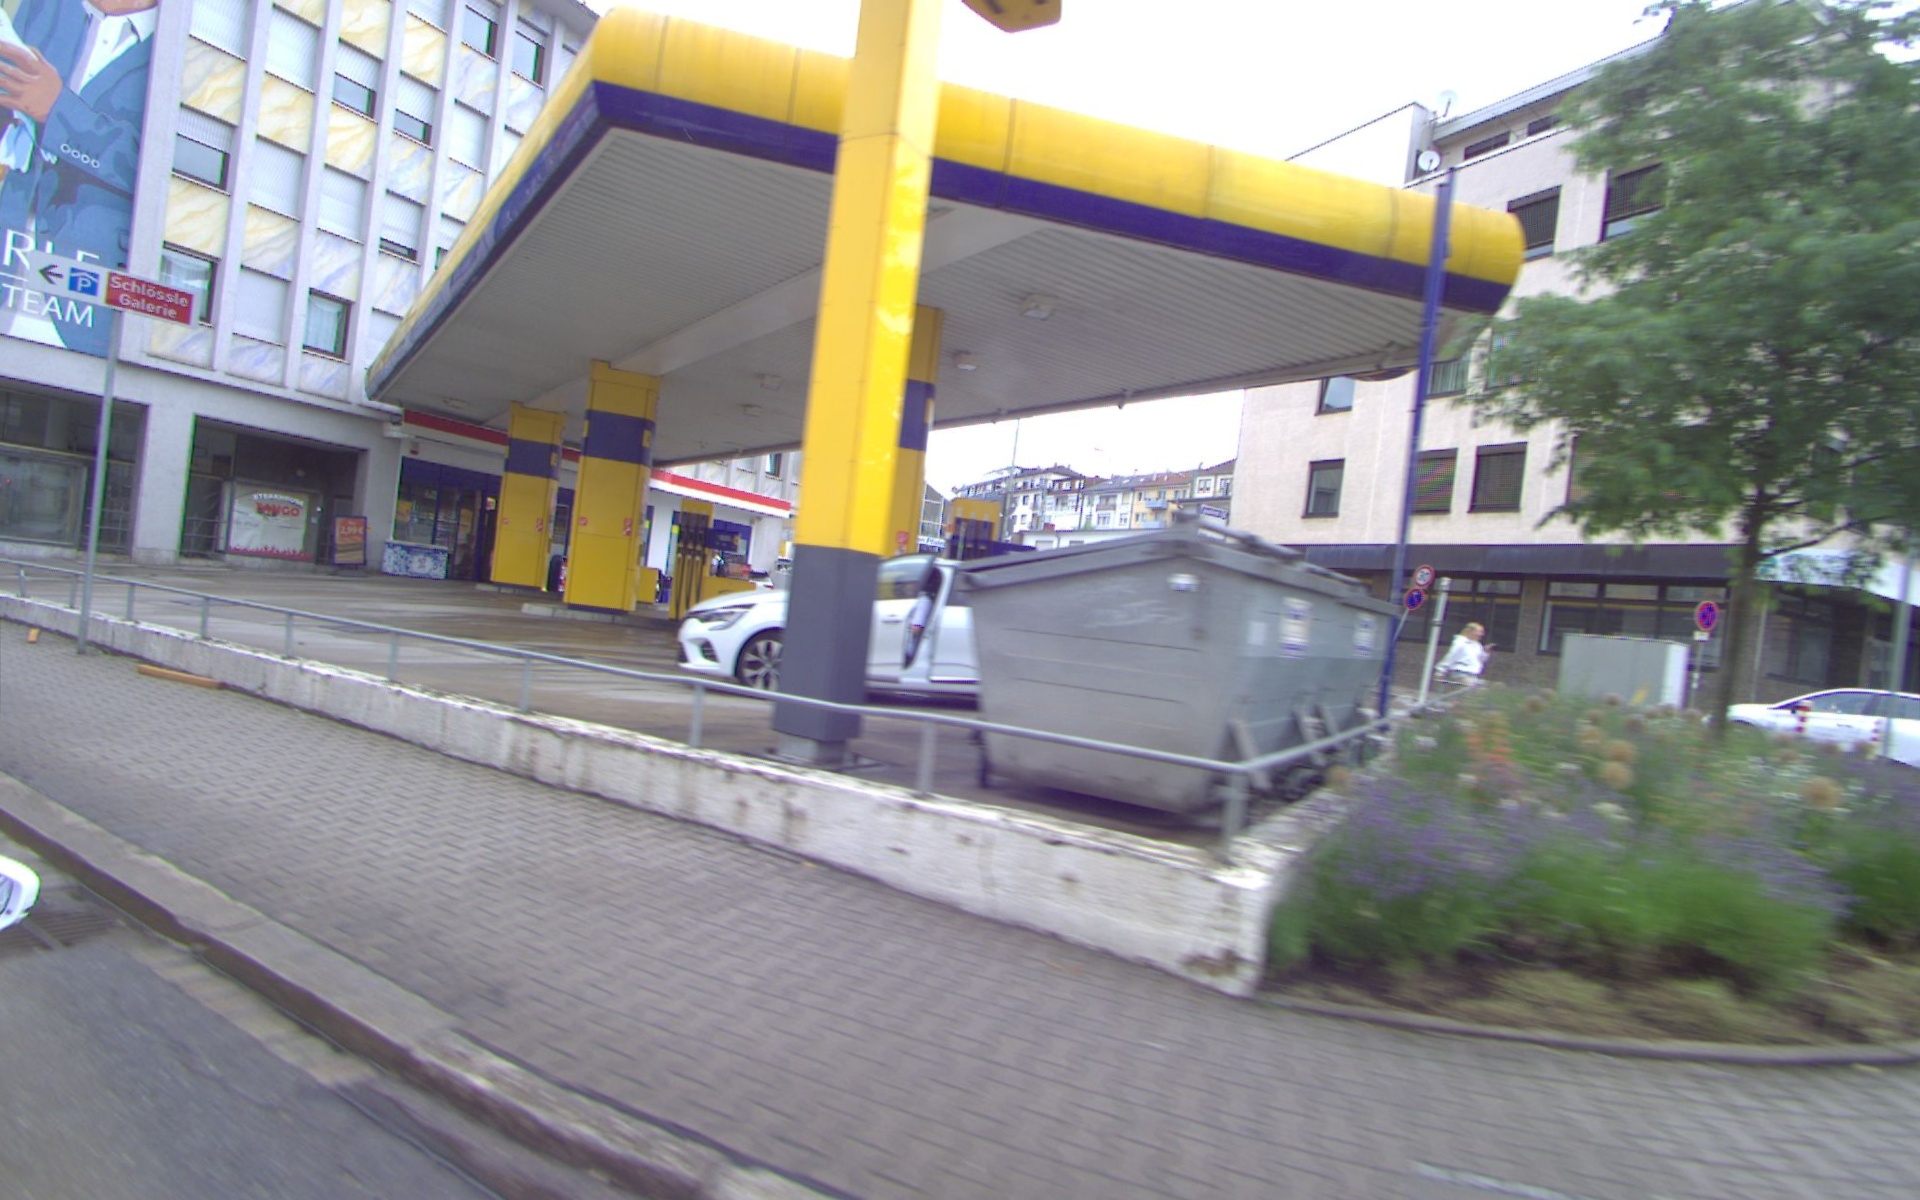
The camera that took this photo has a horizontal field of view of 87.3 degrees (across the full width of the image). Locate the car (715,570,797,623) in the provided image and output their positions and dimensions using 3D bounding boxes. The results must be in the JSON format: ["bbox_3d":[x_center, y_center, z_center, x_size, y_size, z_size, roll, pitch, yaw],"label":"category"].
[{"bbox_3d":[-7.106,-0.140,34.671,1.971,1.534,4.399,5,-1,-21],"label":"car"}]

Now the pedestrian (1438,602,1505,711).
[{"bbox_3d":[7.530,0.825,14.822,0.471,1.532,0.574,7,-1,-9],"label":"pedestrian"}]

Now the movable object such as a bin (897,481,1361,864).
[{"bbox_3d":[1.051,0.326,5.671,1.744,1.594,2.157,7,0,32],"label":"movable object such as a bin"}]

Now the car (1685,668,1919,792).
[{"bbox_3d":[14.518,2.169,16.164,1.789,1.494,4.173,10,-2,-32],"label":"car"}]

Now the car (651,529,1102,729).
[{"bbox_3d":[-0.843,0.284,9.771,3.936,1.461,1.740,5,1,-15],"label":"car"}]

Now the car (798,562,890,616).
[{"bbox_3d":[-4.872,-0.498,41.639,1.979,1.886,4.547,8,-2,-29],"label":"car"}]

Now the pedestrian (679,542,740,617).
[{"bbox_3d":[-6.566,-0.539,26.416,1.268,1.821,0.653,6,1,21],"label":"pedestrian"}]

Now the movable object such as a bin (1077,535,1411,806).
[{"bbox_3d":[2.203,0.457,7.562,1.744,1.575,2.156,7,1,32],"label":"movable object such as a bin"}]

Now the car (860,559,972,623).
[{"bbox_3d":[-1.644,-0.354,35.970,1.979,1.886,4.547,8,-2,-29],"label":"car"}]

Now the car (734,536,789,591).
[{"bbox_3d":[-15.225,-2.782,76.789,2.358,3.730,4.960,8,-2,-28],"label":"car"}]

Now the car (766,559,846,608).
[{"bbox_3d":[-7.195,-0.804,46.638,1.979,1.886,4.547,8,-2,-29],"label":"car"}]
